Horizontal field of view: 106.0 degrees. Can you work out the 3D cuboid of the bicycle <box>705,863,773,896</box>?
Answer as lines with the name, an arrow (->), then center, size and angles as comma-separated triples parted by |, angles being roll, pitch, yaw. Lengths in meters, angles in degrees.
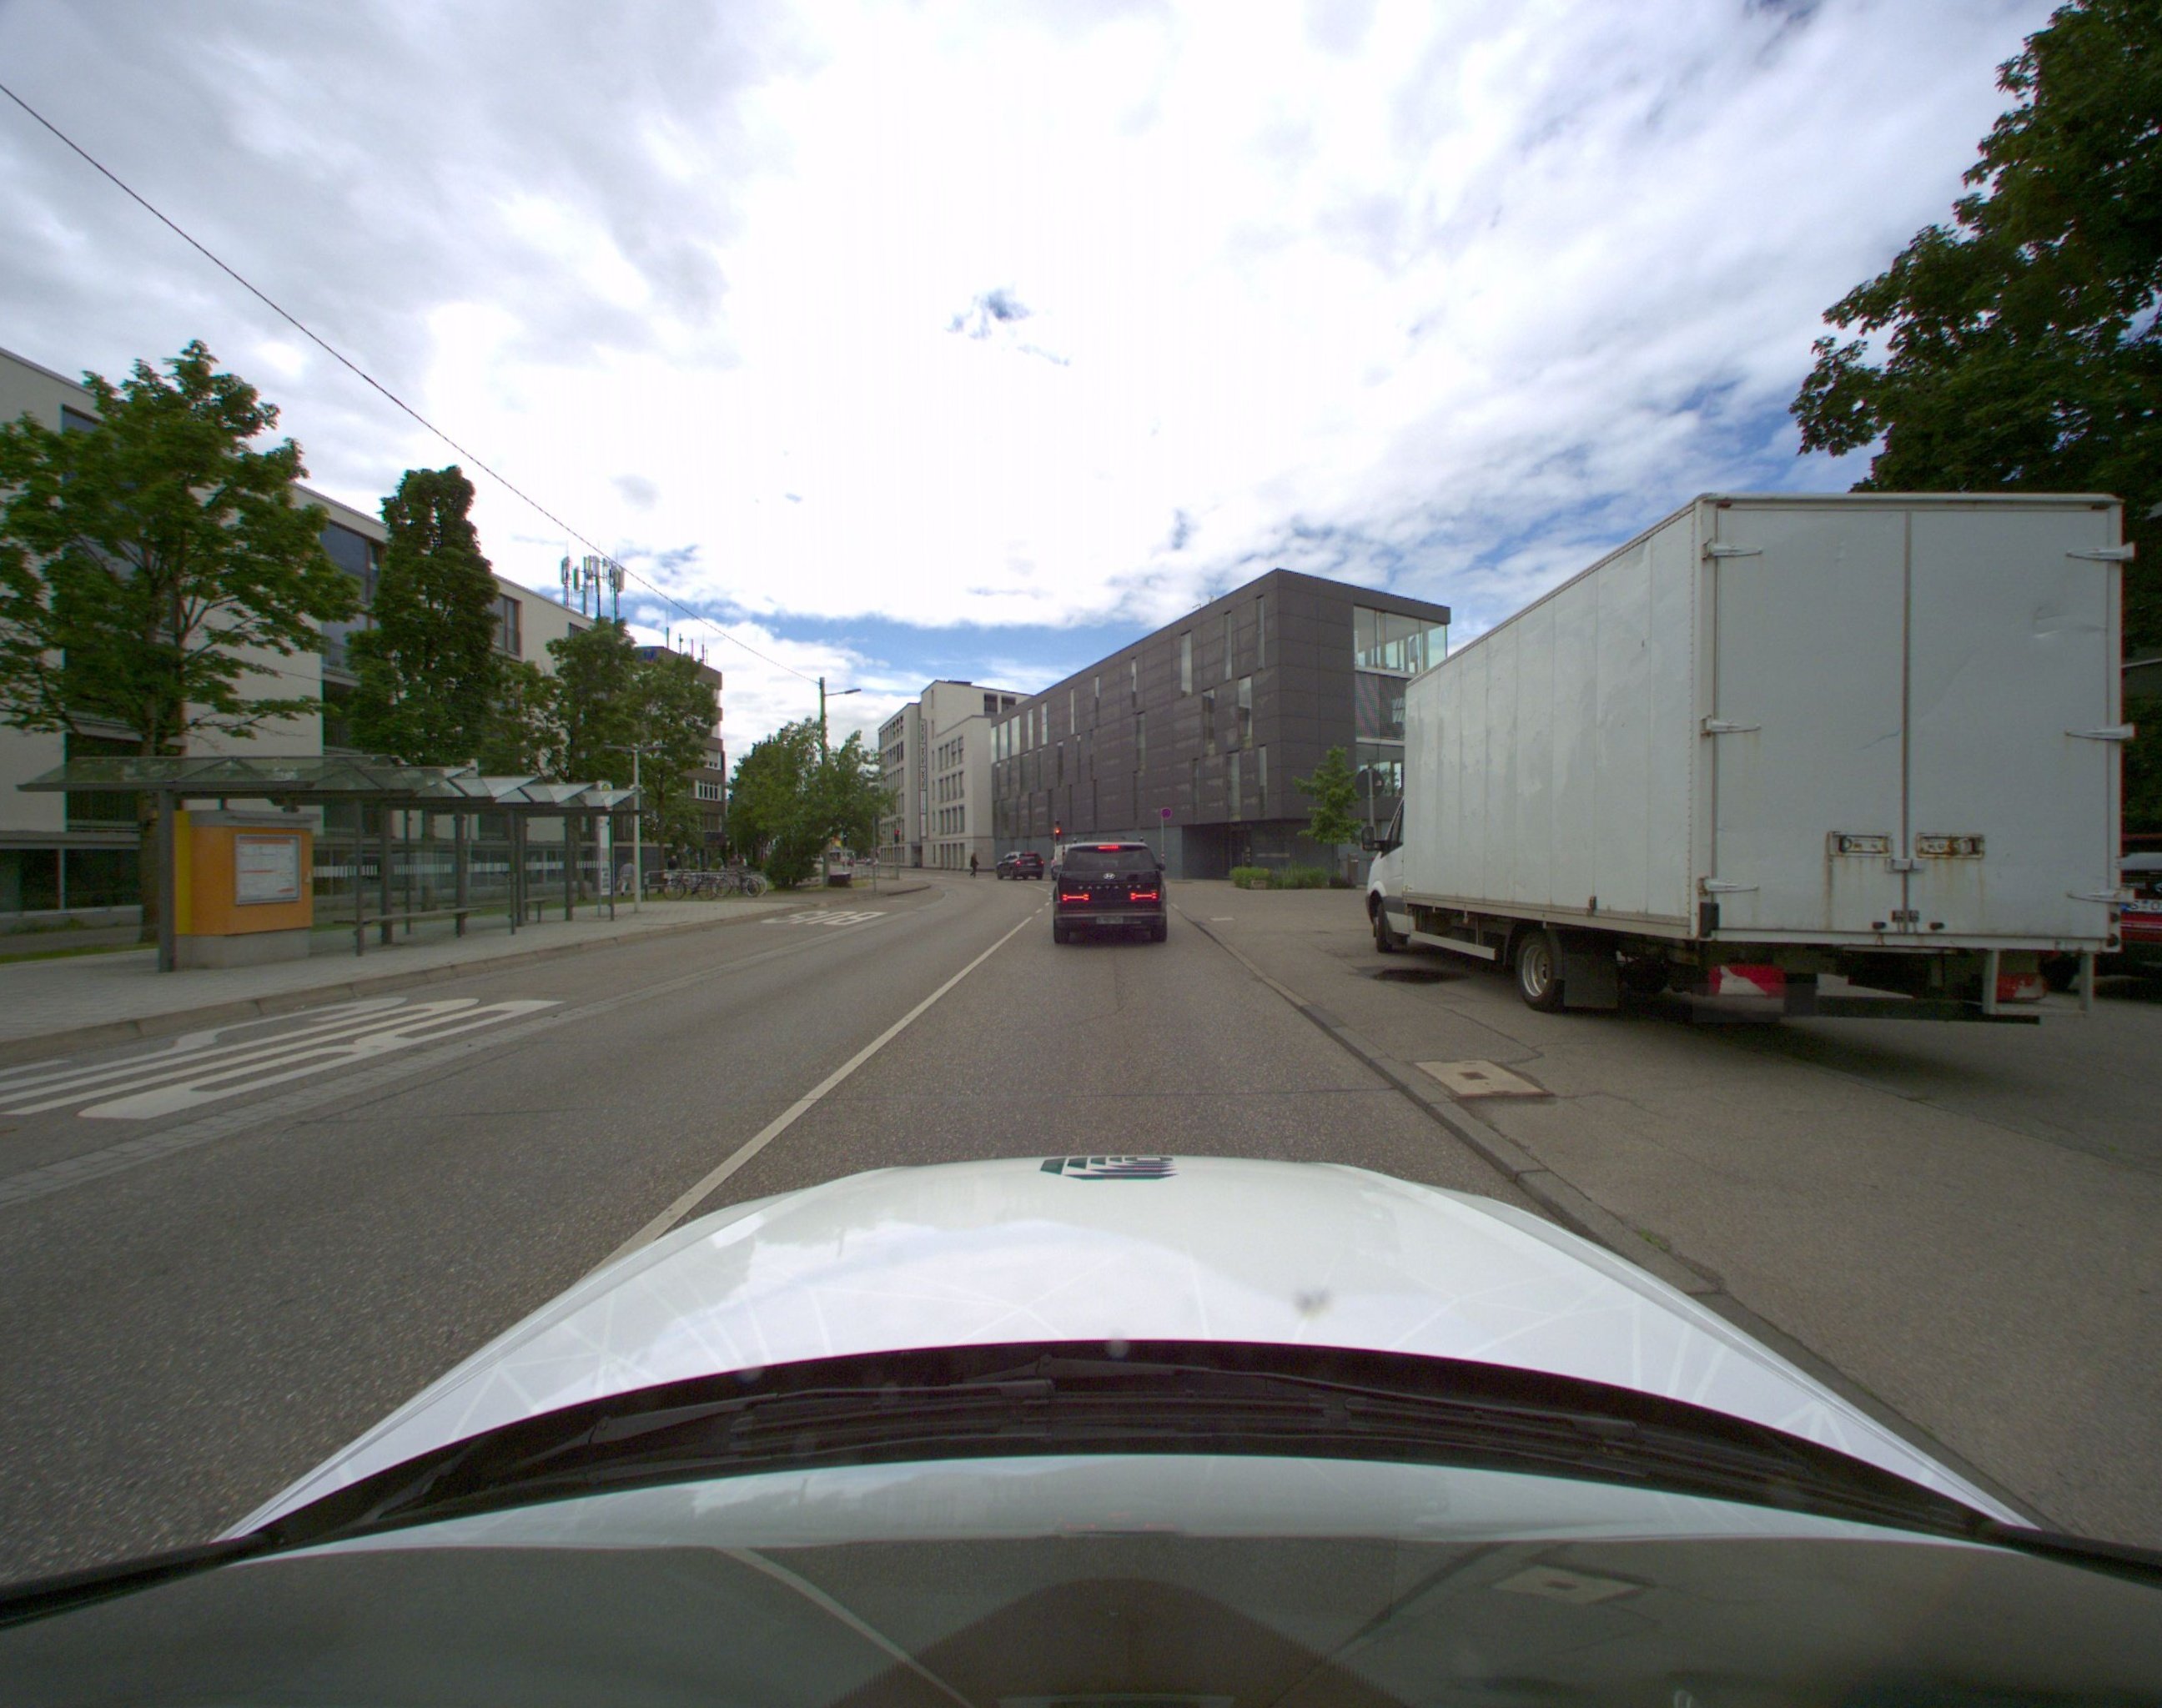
bicycle -> -11.922, 0.879, 28.406 | 2.090, 1.106, 0.632 | 0, 0, 2

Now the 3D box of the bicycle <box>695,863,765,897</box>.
bicycle -> -11.892, 0.879, 27.644 | 2.090, 1.106, 0.632 | 0, 0, 2

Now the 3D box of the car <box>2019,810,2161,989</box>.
car -> 10.358, 0.387, 7.376 | 3.511, 1.455, 1.666 | 1, -1, -27

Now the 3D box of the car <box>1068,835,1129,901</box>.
car -> 0.517, 0.417, 27.993 | 1.850, 2.033, 4.435 | -1, 0, -1

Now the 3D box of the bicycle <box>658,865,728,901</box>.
bicycle -> -12.098, 0.901, 25.420 | 1.921, 1.106, 0.587 | 0, 0, 2

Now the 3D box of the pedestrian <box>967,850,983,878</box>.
pedestrian -> -6.943, 0.643, 53.240 | 0.938, 1.800, 0.589 | -1, 0, -11

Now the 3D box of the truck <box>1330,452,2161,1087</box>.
truck -> 4.940, -0.478, 8.499 | 2.563, 3.525, 7.815 | -1, 0, 3

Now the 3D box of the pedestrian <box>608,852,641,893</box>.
pedestrian -> -19.797, 0.797, 35.357 | 0.827, 1.765, 0.907 | 2, -1, 2

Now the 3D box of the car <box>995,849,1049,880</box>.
car -> -3.561, 0.608, 48.190 | 1.856, 1.677, 4.341 | -2, 0, -23

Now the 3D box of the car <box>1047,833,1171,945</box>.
car -> 0.403, 0.542, 14.704 | 1.910, 1.725, 4.168 | 1, 0, -1

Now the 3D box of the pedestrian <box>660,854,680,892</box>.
pedestrian -> -22.142, 1.004, 43.894 | 0.768, 2.014, 0.885 | 2, -1, -17

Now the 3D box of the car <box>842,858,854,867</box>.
car -> -40.482, 1.447, 141.628 | 1.903, 1.486, 3.978 | -1, 0, -16
